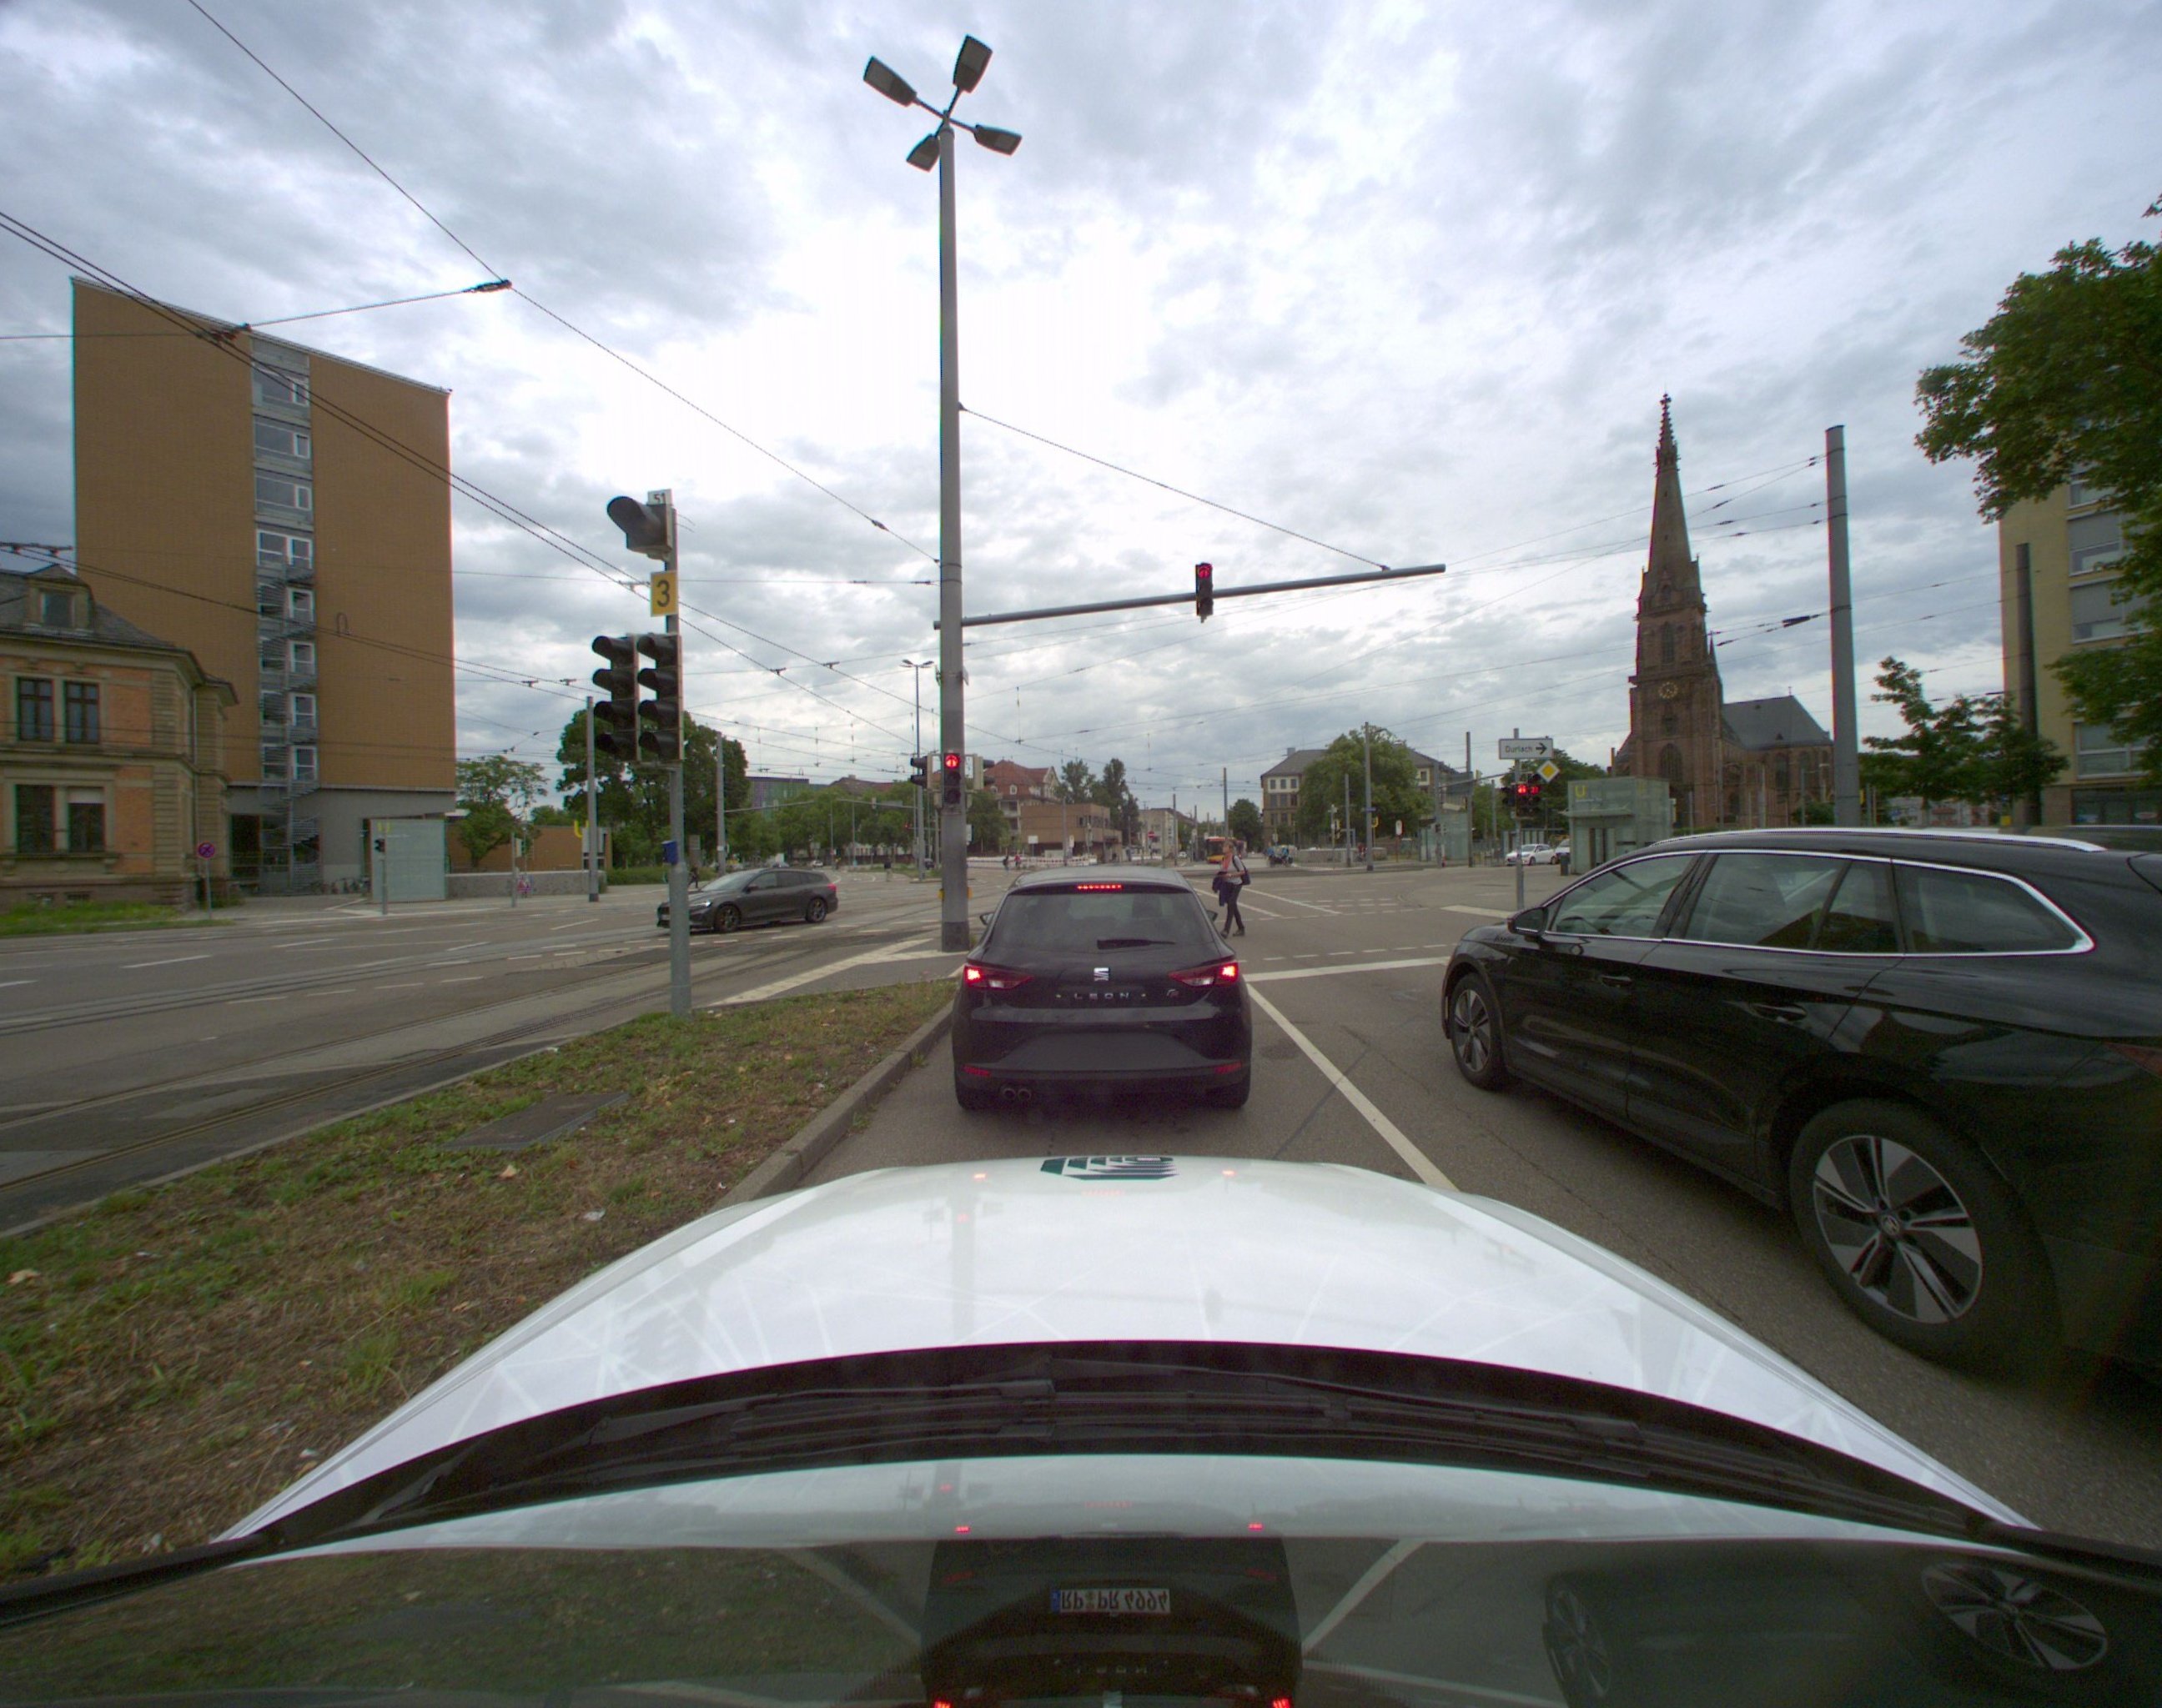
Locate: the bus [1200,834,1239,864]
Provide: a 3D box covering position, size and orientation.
[{"bbox_3d":[15.955,-0.543,93.260,2.938,3.123,11.589,-2,0,16],"label":"bus"}]

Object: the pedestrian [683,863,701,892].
[{"bbox_3d":[-27.818,1.672,58.279,1.023,2.013,0.841,-1,0,-18],"label":"pedestrian"}]

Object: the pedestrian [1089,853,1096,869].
[{"bbox_3d":[1.338,0.810,96.715,0.704,1.918,0.625,-2,0,9],"label":"pedestrian"}]

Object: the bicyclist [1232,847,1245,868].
[{"bbox_3d":[12.789,0.261,66.216,0.853,1.673,0.653,-1,0,-6],"label":"bicyclist"}]

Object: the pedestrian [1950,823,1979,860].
[{"bbox_3d":[39.490,-0.539,36.410,0.640,1.638,0.778,-1,0,-35],"label":"pedestrian"}]

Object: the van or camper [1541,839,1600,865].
[{"bbox_3d":[35.266,-0.140,58.667,4.321,1.742,1.979,-1,-2,-34],"label":"van or camper"}]

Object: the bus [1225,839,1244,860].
[{"bbox_3d":[25.719,-0.751,136.271,2.635,3.283,11.034,-2,0,13],"label":"bus"}]

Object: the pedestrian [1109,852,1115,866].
[{"bbox_3d":[4.191,0.637,110.171,0.618,1.918,0.711,-1,0,5],"label":"pedestrian"}]

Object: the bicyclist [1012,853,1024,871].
[{"bbox_3d":[-6.159,0.798,79.643,0.886,1.732,0.888,-1,0,-20],"label":"bicyclist"}]

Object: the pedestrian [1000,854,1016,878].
[{"bbox_3d":[-5.807,0.950,64.480,0.692,1.934,1.037,-2,0,40],"label":"pedestrian"}]

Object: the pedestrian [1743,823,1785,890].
[{"bbox_3d":[20.343,0.078,24.260,0.878,1.930,1.023,-1,0,43],"label":"pedestrian"}]

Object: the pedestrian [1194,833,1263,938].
[{"bbox_3d":[2.785,0.574,15.382,1.110,1.907,0.727,0,-1,-41],"label":"pedestrian"}]

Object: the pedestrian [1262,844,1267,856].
[{"bbox_3d":[32.417,-0.695,143.725,0.659,2.013,0.692,-1,0,2],"label":"pedestrian"}]

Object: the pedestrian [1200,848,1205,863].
[{"bbox_3d":[15.544,0.212,104.350,0.617,1.918,0.701,-2,0,11],"label":"pedestrian"}]

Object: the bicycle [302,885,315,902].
[{"bbox_3d":[-52.097,2.652,54.941,0.575,1.106,1.411,-1,0,-41],"label":"bicycle"}]

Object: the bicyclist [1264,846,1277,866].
[{"bbox_3d":[17.709,0.150,76.199,0.869,1.851,1.046,-1,0,-4],"label":"bicyclist"}]

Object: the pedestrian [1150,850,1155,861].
[{"bbox_3d":[12.512,0.203,143.055,0.615,1.918,0.715,-2,-2,27],"label":"pedestrian"}]

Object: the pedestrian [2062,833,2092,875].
[{"bbox_3d":[39.491,-0.016,32.288,0.875,1.638,0.631,-1,0,-32],"label":"pedestrian"}]

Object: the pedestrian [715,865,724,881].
[{"bbox_3d":[-46.123,2.407,103.985,0.880,1.981,0.791,-1,-2,-17],"label":"pedestrian"}]

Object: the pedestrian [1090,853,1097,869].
[{"bbox_3d":[1.495,0.822,97.508,0.704,1.918,0.625,-2,0,9],"label":"pedestrian"}]

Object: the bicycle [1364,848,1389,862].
[{"bbox_3d":[29.648,0.097,81.714,2.248,1.331,0.709,-2,-2,9],"label":"bicycle"}]

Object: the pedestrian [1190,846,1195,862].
[{"bbox_3d":[14.224,0.011,103.912,0.617,1.918,0.701,-2,0,11],"label":"pedestrian"}]

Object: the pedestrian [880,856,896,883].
[{"bbox_3d":[-14.363,1.154,60.648,1.032,1.934,0.695,-2,0,-24],"label":"pedestrian"}]

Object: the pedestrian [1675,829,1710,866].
[{"bbox_3d":[30.954,-0.334,41.223,0.950,1.797,1.076,-1,-2,-31],"label":"pedestrian"}]

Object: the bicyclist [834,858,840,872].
[{"bbox_3d":[-34.648,1.525,115.633,0.508,2.014,0.593,-3,-2,44],"label":"bicyclist"}]

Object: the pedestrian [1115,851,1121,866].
[{"bbox_3d":[4.999,0.620,110.078,0.618,1.918,0.711,-1,0,5],"label":"pedestrian"}]

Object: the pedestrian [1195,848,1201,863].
[{"bbox_3d":[15.156,0.180,105.530,0.618,1.918,0.711,-1,0,5],"label":"pedestrian"}]

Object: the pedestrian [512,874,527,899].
[{"bbox_3d":[-30.772,1.773,44.650,0.492,1.336,0.577,-2,-1,41],"label":"pedestrian"}]

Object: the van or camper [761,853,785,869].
[{"bbox_3d":[-62.843,1.458,165.977,5.434,3.124,2.410,-2,0,43],"label":"van or camper"}]

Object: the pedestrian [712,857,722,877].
[{"bbox_3d":[-37.577,1.325,84.064,0.799,1.981,0.872,-1,-2,-33],"label":"pedestrian"}]

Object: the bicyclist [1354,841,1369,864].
[{"bbox_3d":[23.601,-0.135,68.571,1.003,1.898,0.768,-1,0,-44],"label":"bicyclist"}]

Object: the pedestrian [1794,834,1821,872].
[{"bbox_3d":[31.476,-0.034,35.291,0.875,1.638,0.631,-1,0,-32],"label":"pedestrian"}]
